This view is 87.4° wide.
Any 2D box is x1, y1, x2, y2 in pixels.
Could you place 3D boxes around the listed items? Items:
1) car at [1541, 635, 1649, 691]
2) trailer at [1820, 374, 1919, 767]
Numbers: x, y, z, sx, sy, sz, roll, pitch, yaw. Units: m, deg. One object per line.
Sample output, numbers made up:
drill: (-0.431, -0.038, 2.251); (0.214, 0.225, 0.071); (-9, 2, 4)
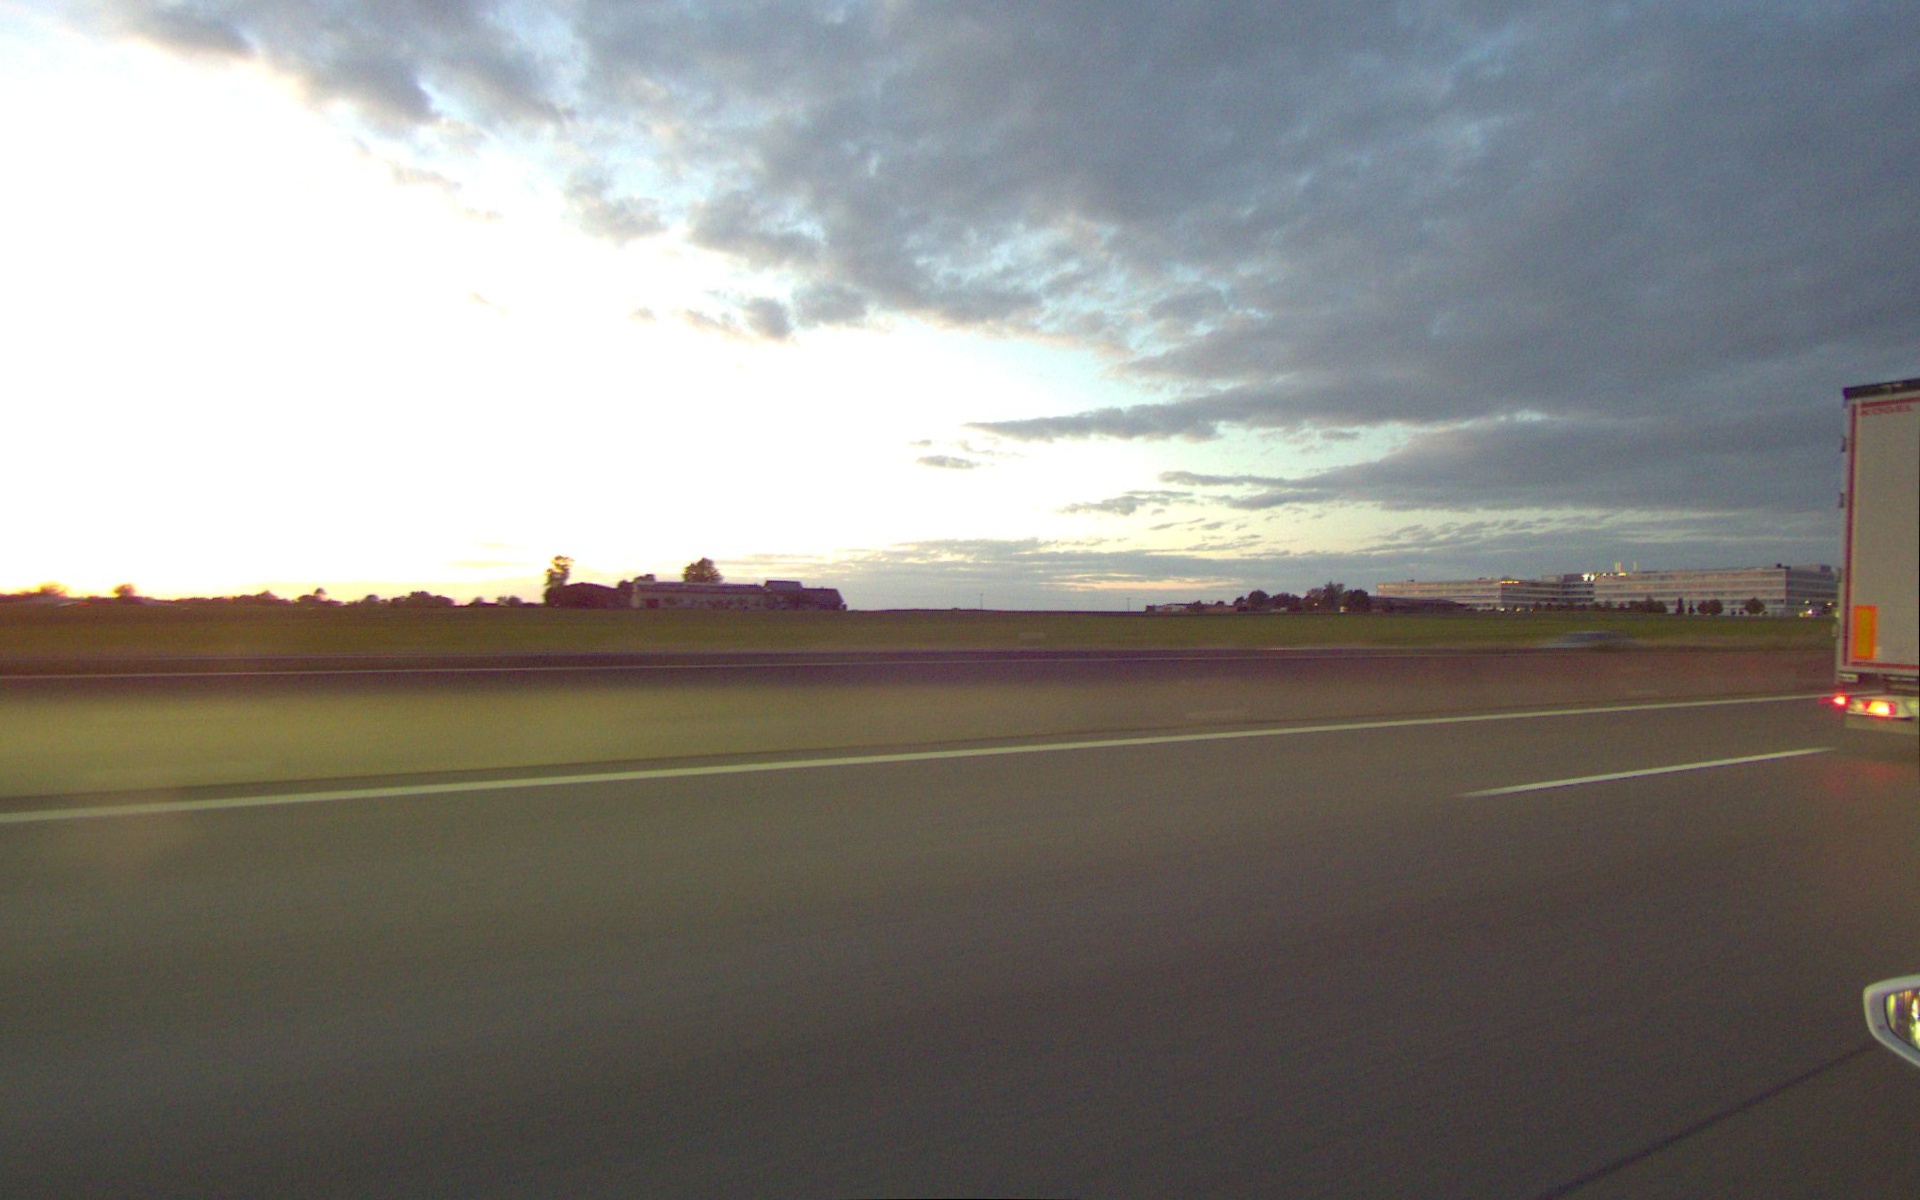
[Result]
car: (25.053, 2.461, 39.606); (4.367, 2.040, 1.765); (2, 0, -30)
trailer: (16.602, -0.102, 13.594); (14.350, 4.139, 2.782); (2, -1, -29)
